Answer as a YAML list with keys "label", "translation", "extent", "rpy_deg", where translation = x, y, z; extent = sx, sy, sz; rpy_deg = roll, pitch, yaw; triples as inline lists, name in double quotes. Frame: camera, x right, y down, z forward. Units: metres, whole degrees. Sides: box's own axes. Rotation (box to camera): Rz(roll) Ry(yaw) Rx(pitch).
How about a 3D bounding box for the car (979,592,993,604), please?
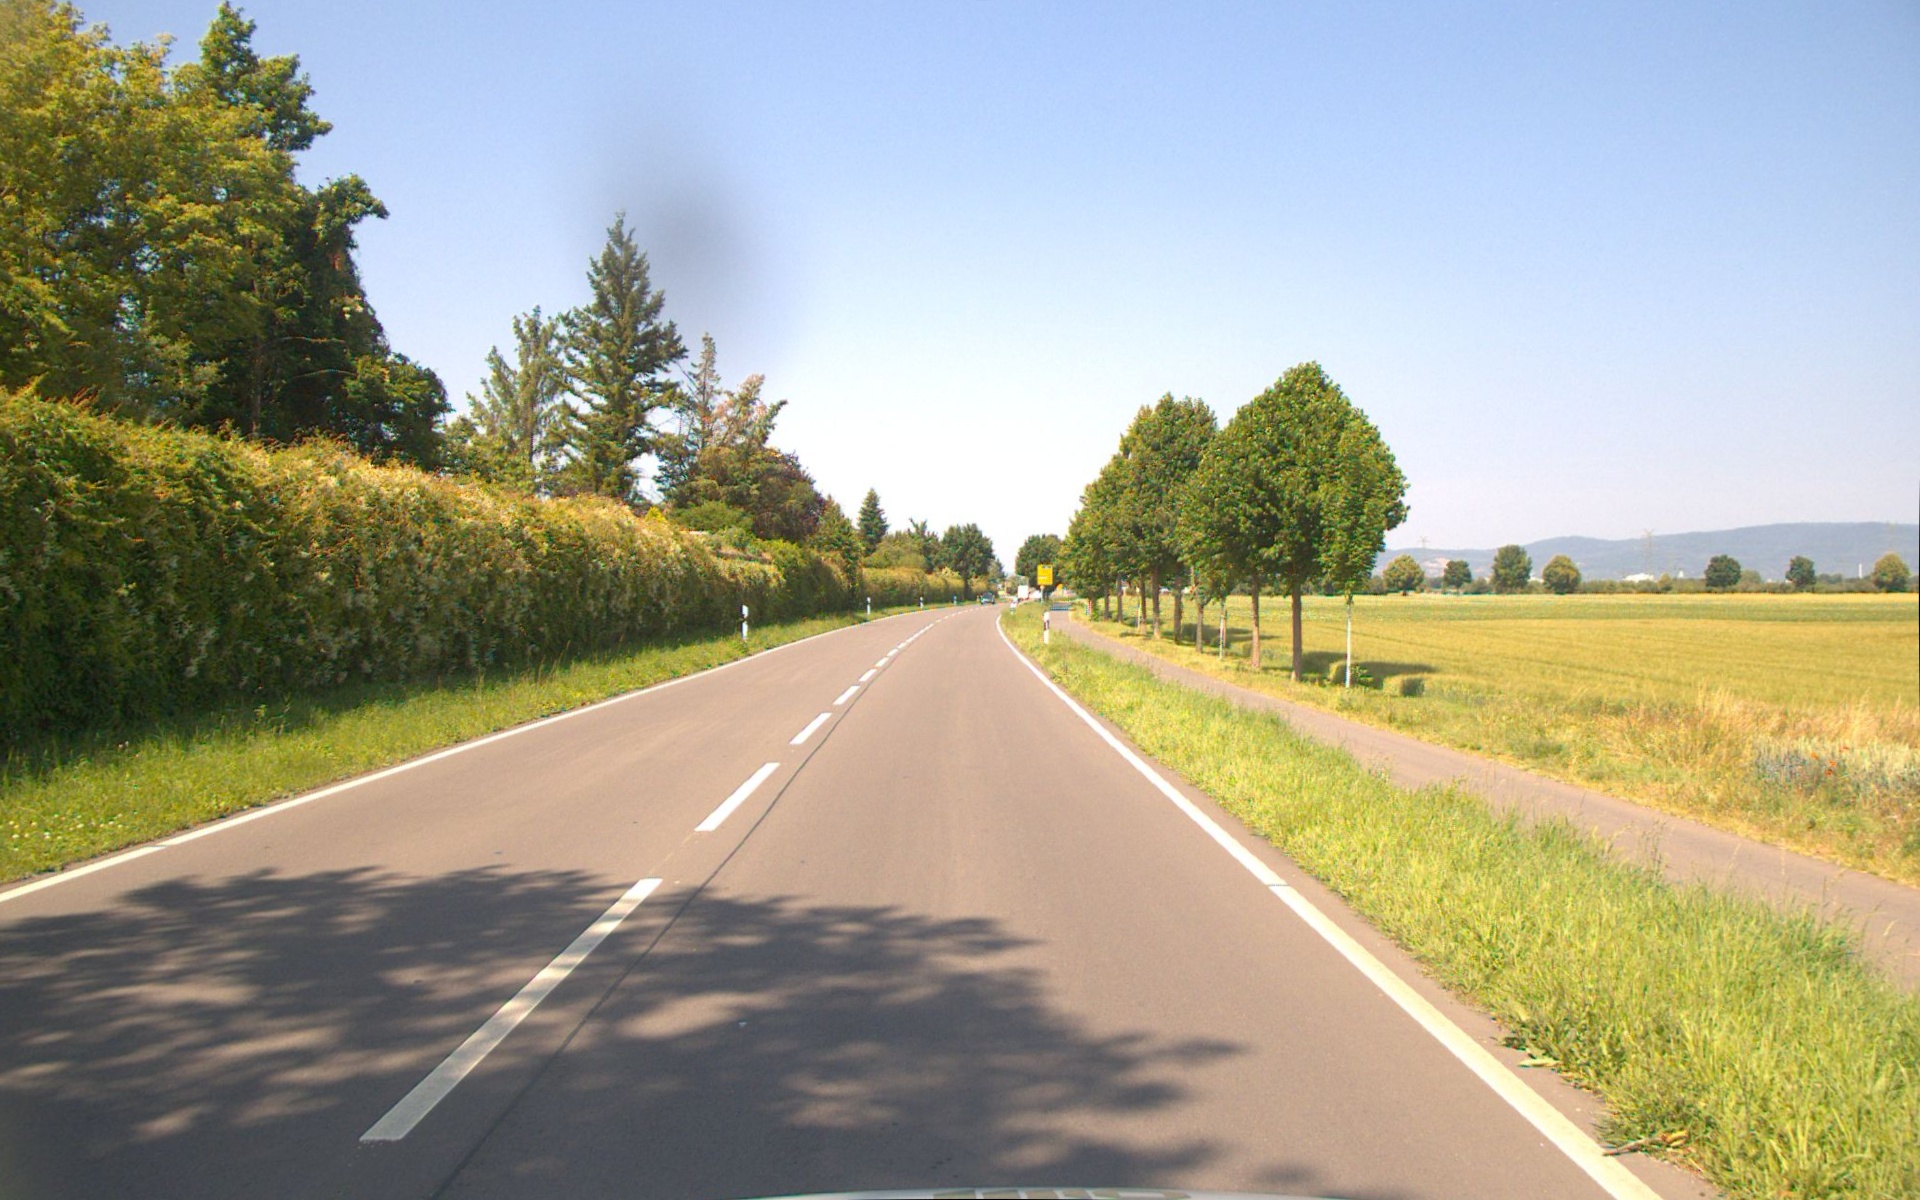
- label: "car"
  translation: [3.483, -0.286, 223.063]
  extent: [1.802, 1.493, 3.933]
  rpy_deg: [0, 0, 0]
